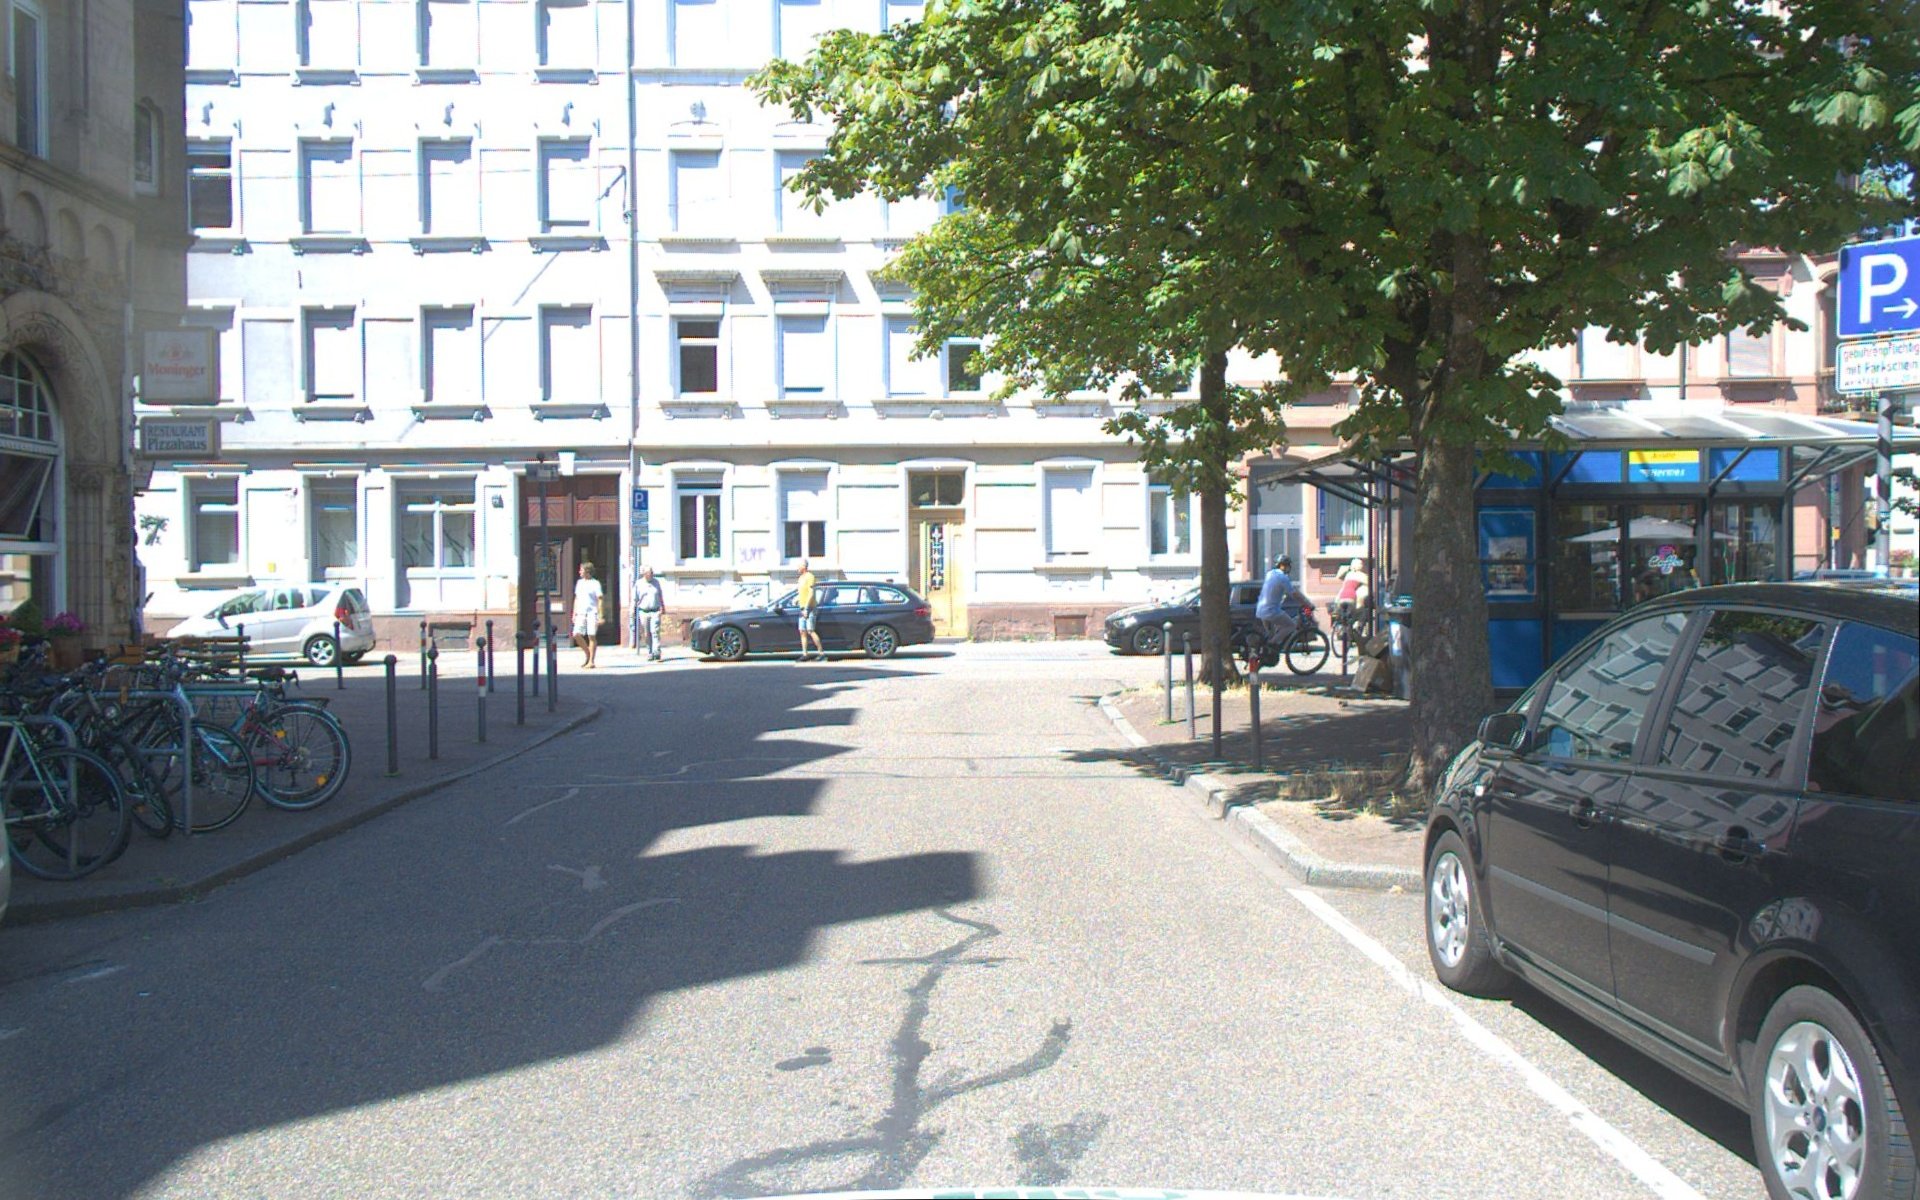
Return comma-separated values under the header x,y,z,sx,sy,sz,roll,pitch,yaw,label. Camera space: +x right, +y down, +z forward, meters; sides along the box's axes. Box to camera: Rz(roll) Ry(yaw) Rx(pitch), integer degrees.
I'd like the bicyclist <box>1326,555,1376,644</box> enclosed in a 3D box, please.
x,y,z,sx,sy,sz,roll,pitch,yaw,label
6.963,-0.005,29.457,0.659,1.560,0.607,-1,0,36,bicyclist

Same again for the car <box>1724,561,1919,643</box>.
x,y,z,sx,sy,sz,roll,pitch,yaw,label
17.761,0.015,33.330,3.907,1.532,1.778,-1,0,-2,car

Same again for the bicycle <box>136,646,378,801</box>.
x,y,z,sx,sy,sz,roll,pitch,yaw,label
-4.925,0.863,11.630,1.495,1.025,0.367,2,0,-6,bicycle

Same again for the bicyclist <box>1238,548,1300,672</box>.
x,y,z,sx,sy,sz,roll,pitch,yaw,label
4.538,0.149,24.297,0.600,1.791,0.667,1,0,-25,bicyclist

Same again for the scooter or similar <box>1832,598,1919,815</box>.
x,y,z,sx,sy,sz,roll,pitch,yaw,label
5.384,0.580,9.576,0.434,1.156,1.181,-1,0,35,scooter or similar

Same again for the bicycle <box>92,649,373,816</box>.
x,y,z,sx,sy,sz,roll,pitch,yaw,label
-4.900,0.892,11.197,1.671,1.063,0.413,1,0,-6,bicycle

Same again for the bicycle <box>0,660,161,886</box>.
x,y,z,sx,sy,sz,roll,pitch,yaw,label
-5.180,0.938,8.735,1.670,1.119,0.292,-3,0,-6,bicycle

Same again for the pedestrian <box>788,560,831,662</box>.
x,y,z,sx,sy,sz,roll,pitch,yaw,label
-2.843,0.206,31.214,0.711,1.886,0.683,-1,0,-11,pedestrian

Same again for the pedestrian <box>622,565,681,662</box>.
x,y,z,sx,sy,sz,roll,pitch,yaw,label
-6.019,0.257,32.294,0.882,1.845,0.961,-1,0,4,pedestrian

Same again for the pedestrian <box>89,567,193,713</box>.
x,y,z,sx,sy,sz,roll,pitch,yaw,label
-9.856,0.473,19.932,0.840,1.701,0.774,-1,0,-1,pedestrian

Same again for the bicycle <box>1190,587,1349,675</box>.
x,y,z,sx,sy,sz,roll,pitch,yaw,label
4.564,0.446,24.316,2.405,1.250,0.648,1,0,-28,bicycle

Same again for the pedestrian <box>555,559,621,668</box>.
x,y,z,sx,sy,sz,roll,pitch,yaw,label
-6.696,0.241,29.809,0.831,1.922,0.936,-1,0,9,pedestrian

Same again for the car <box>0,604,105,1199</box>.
x,y,z,sx,sy,sz,roll,pitch,yaw,label
-2.068,0.811,0.143,1.804,1.486,4.361,-3,0,-2,car

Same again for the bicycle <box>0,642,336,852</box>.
x,y,z,sx,sy,sz,roll,pitch,yaw,label
-4.795,0.870,9.853,1.933,1.149,0.394,2,0,-6,bicycle

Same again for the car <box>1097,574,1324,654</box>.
x,y,z,sx,sy,sz,roll,pitch,yaw,label
4.935,0.255,32.907,4.207,1.394,1.807,-1,3,-2,car

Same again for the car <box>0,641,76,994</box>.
x,y,z,sx,sy,sz,roll,pitch,yaw,label
-4.553,0.920,4.849,1.668,1.376,4.512,-3,0,-4,car

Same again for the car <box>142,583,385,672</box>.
x,y,z,sx,sy,sz,roll,pitch,yaw,label
-13.597,0.513,32.468,3.966,1.589,1.806,-1,0,-3,car

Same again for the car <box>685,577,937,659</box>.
x,y,z,sx,sy,sz,roll,pitch,yaw,label
-2.862,0.332,32.541,4.761,1.462,1.999,-1,0,-2,car

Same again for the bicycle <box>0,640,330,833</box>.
x,y,z,sx,sy,sz,roll,pitch,yaw,label
-4.999,0.838,10.278,1.956,1.149,0.435,1,0,-6,bicycle

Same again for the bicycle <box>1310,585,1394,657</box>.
x,y,z,sx,sy,sz,roll,pitch,yaw,label
7.018,0.361,29.551,0.640,1.230,2.434,1,0,34,bicycle

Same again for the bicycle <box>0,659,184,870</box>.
x,y,z,sx,sy,sz,roll,pitch,yaw,label
-5.182,0.891,9.046,1.669,1.119,0.292,1,0,-6,bicycle

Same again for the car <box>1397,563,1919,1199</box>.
x,y,z,sx,sy,sz,roll,pitch,yaw,label
2.798,0.708,5.165,1.629,1.567,4.176,1,0,-2,car
